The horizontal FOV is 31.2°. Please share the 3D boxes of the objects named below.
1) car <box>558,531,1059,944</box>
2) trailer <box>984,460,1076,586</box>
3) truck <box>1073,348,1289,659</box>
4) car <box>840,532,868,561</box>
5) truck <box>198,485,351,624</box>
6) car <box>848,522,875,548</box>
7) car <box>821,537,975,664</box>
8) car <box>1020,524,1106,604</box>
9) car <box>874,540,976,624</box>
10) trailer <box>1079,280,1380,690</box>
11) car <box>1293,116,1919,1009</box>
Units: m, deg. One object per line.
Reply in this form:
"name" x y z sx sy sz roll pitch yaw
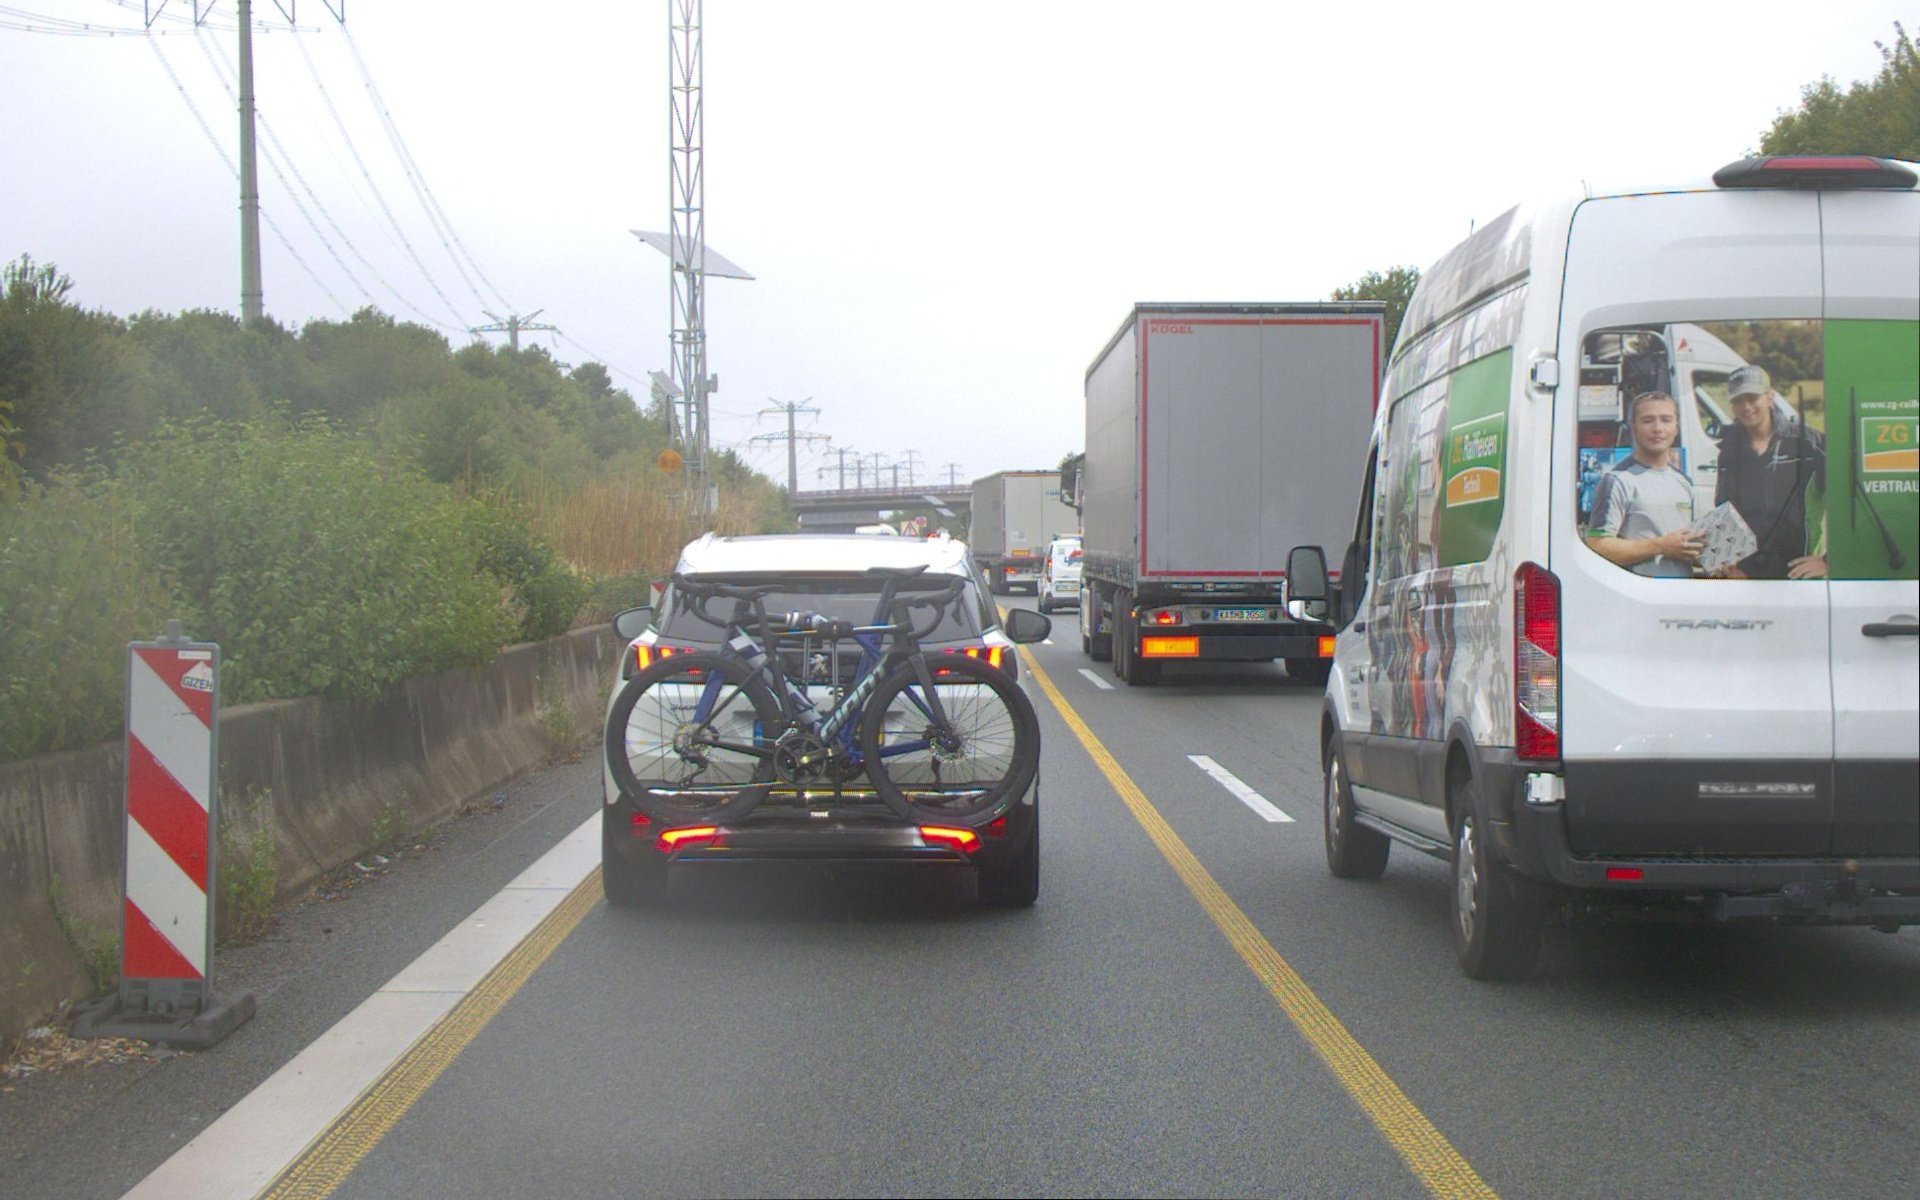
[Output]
"car" -0.592 0.469 15.100 1.850 1.525 4.769 0 1 -1
"trailer" 2.301 -2.597 117.329 2.692 4.062 13.634 0 1 -1
"truck" 3.020 -1.326 48.436 2.706 4.124 5.691 0 1 0
"car" -7.505 -3.766 243.262 1.931 1.966 4.001 0 2 -1
"truck" -17.068 -1.146 86.008 2.261 3.217 7.052 -3 1 0
"car" -7.472 -4.956 260.928 1.931 1.904 4.001 0 2 -1
"car" -0.778 -0.028 43.555 1.850 1.525 4.000 0 1 -1
"car" 2.422 -0.873 81.755 1.829 1.833 4.656 0 1 -1
"car" -0.660 -0.362 64.394 1.850 1.525 4.000 0 1 -1
"trailer" 2.955 -1.274 41.545 2.706 4.132 13.732 0 1 1
"car" 2.670 -0.170 13.588 1.993 2.773 5.757 0 1 -2
